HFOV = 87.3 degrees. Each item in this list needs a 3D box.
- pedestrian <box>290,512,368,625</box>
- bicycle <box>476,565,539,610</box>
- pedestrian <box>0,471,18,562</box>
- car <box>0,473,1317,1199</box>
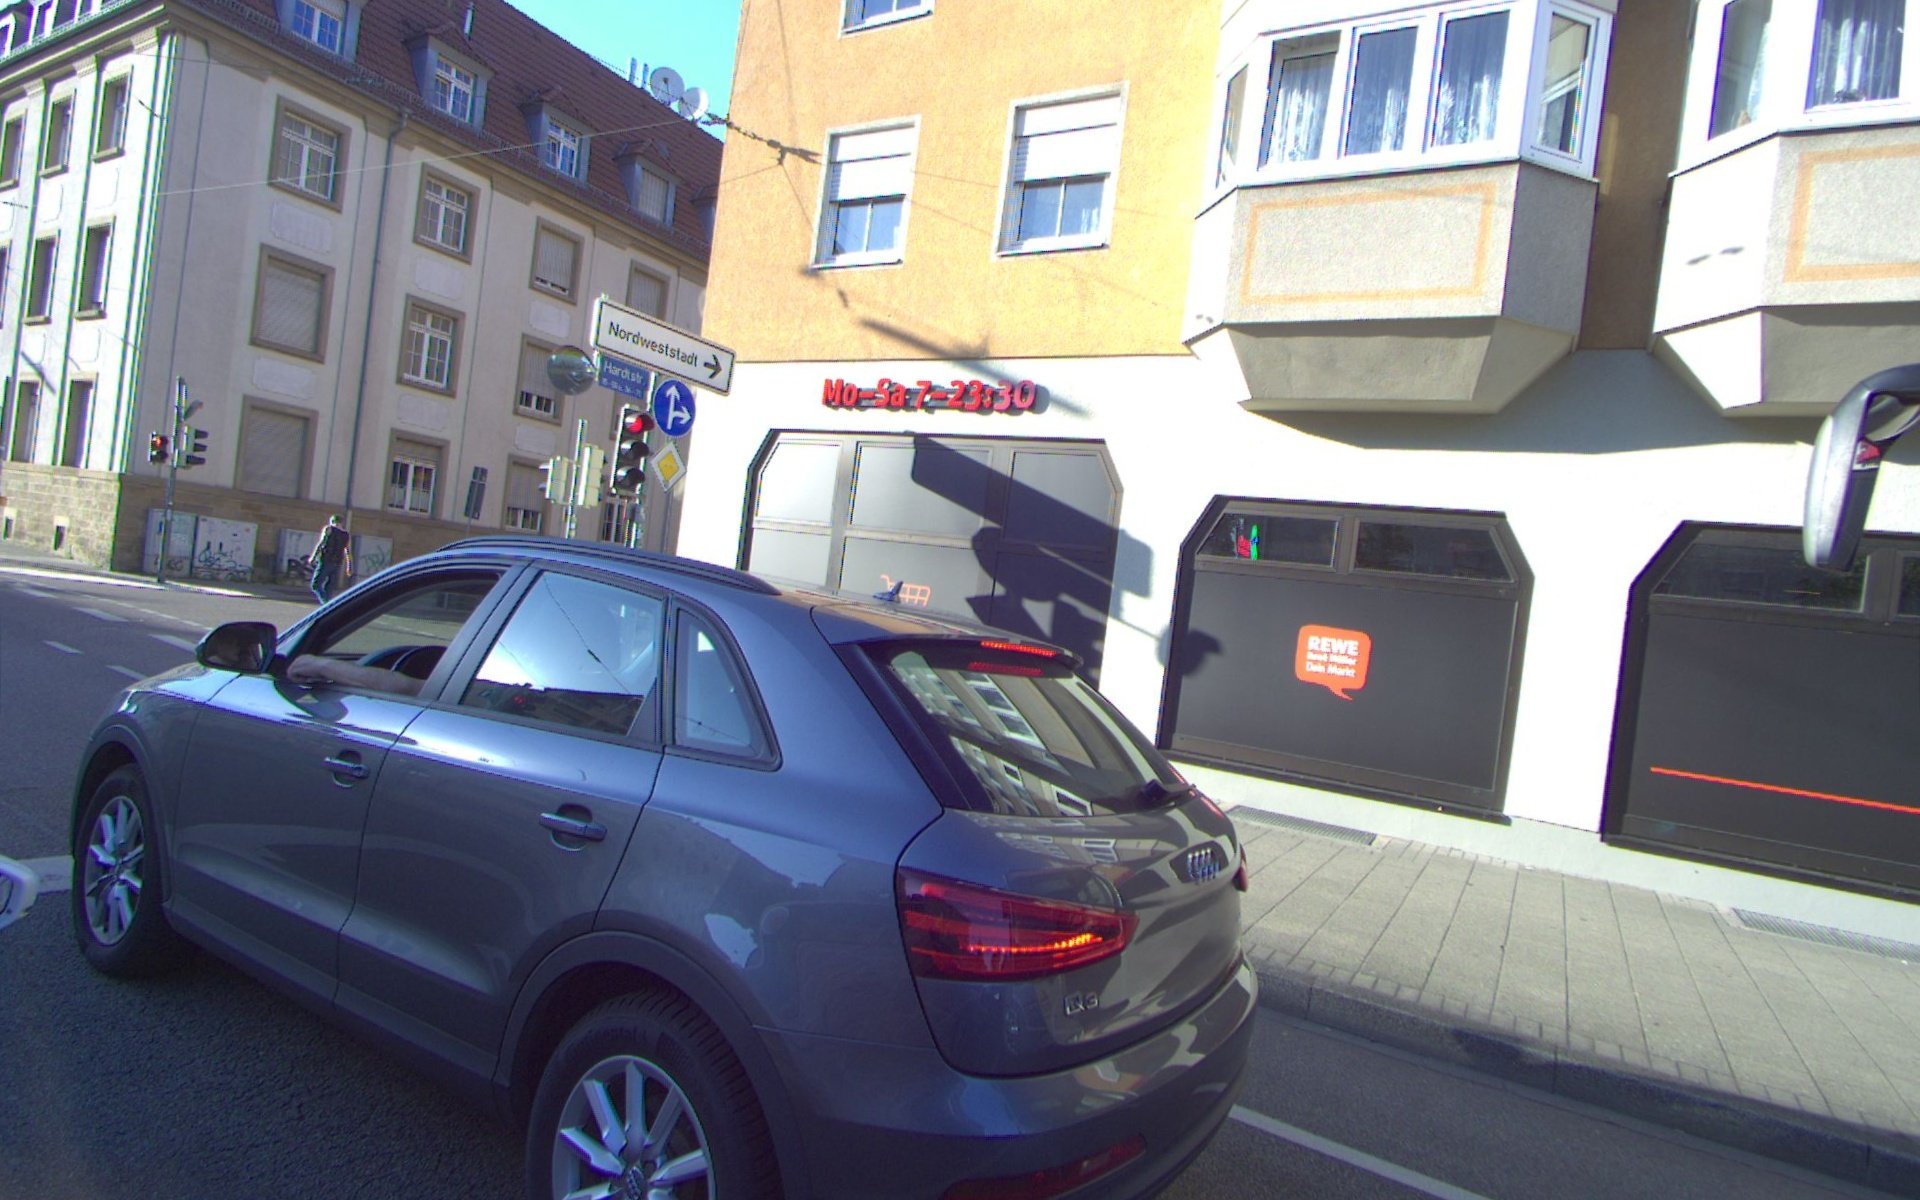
[{"bbox_3d":[-10.580,-0.526,16.866,0.812,1.778,0.630,6,-1,32],"label":"pedestrian"},{"bbox_3d":[-12.530,-0.335,27.902,1.499,1.029,0.247,9,-2,-43],"label":"bicycle"},{"bbox_3d":[-19.617,-1.724,20.085,0.810,1.783,0.837,6,-1,31],"label":"pedestrian"},{"bbox_3d":[-1.241,0.616,3.304,4.155,1.570,1.701,7,-2,32],"label":"car"}]
